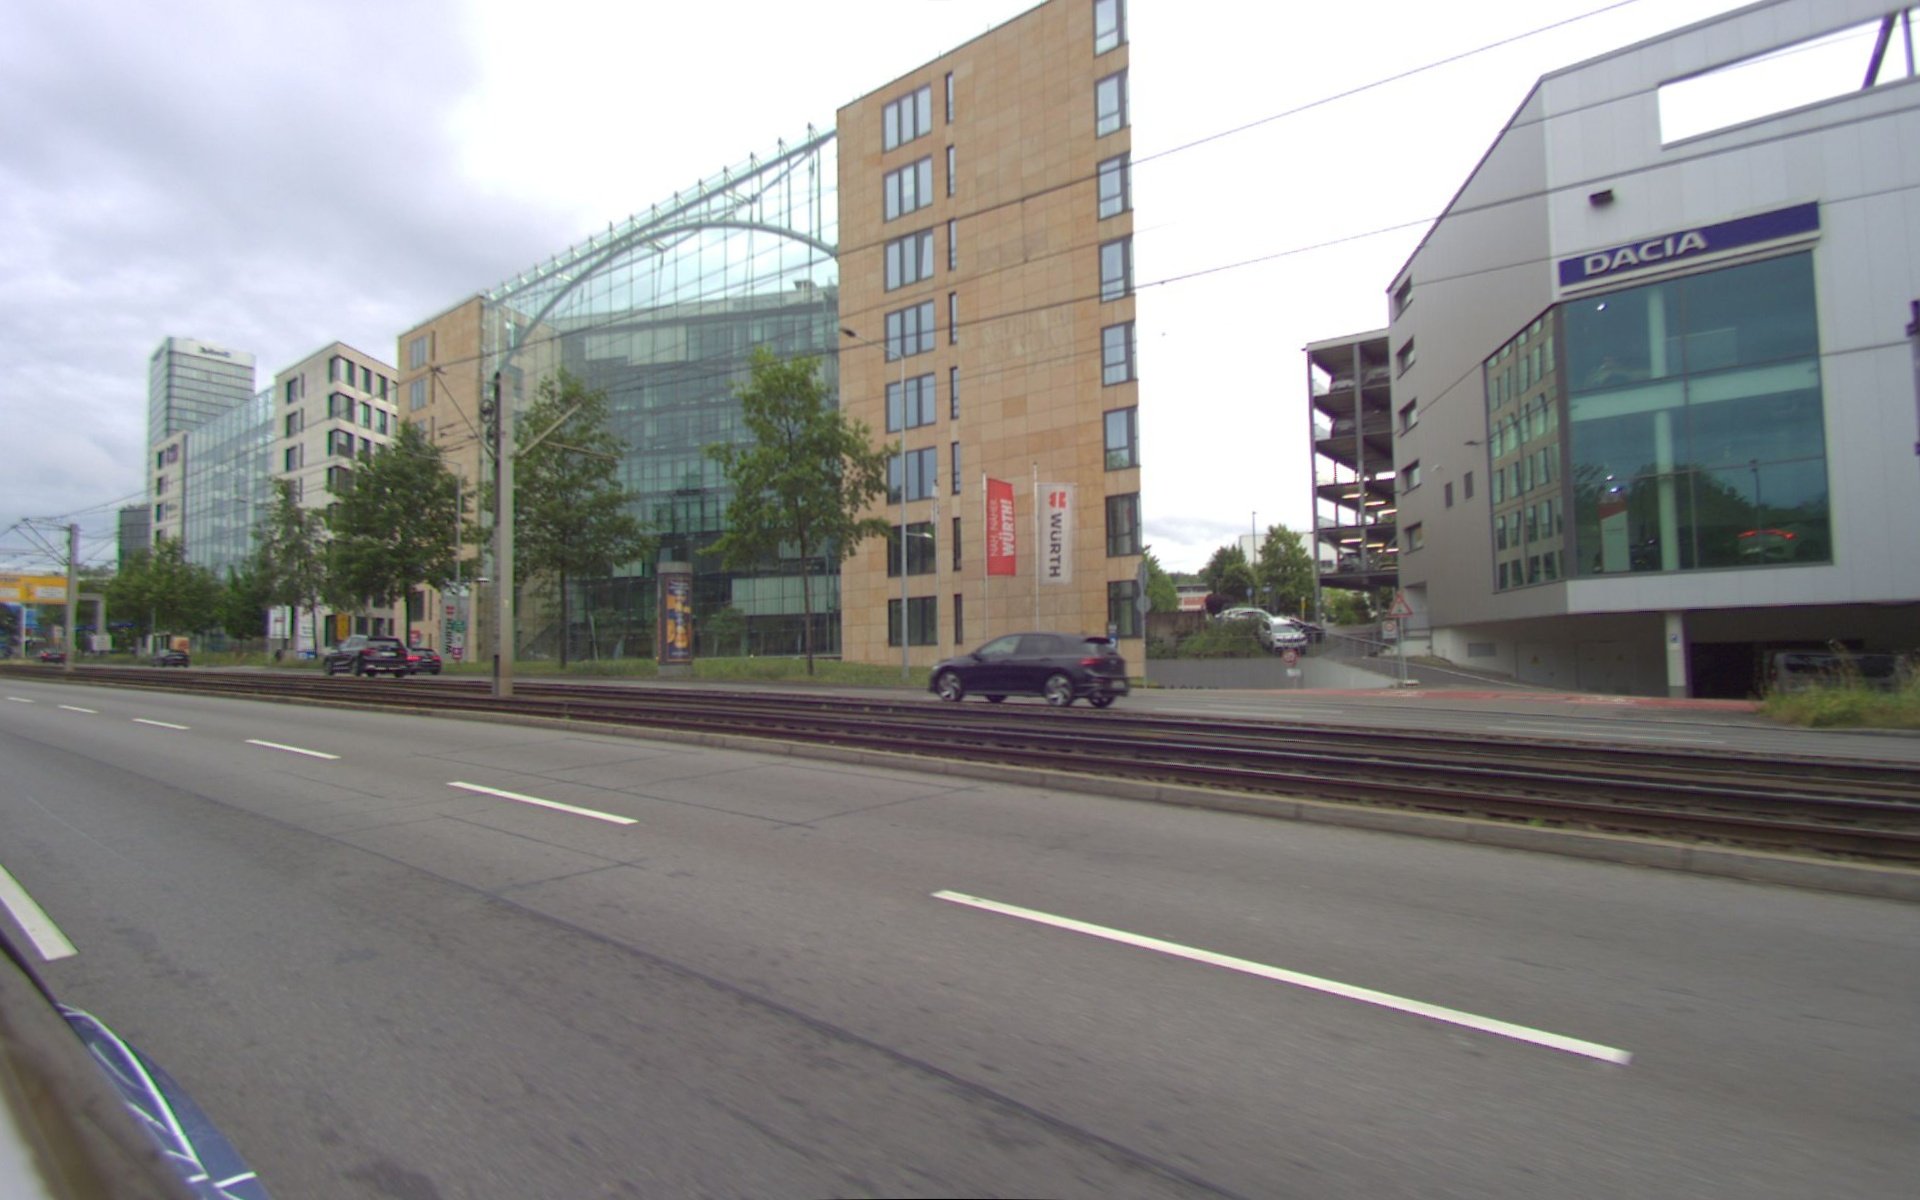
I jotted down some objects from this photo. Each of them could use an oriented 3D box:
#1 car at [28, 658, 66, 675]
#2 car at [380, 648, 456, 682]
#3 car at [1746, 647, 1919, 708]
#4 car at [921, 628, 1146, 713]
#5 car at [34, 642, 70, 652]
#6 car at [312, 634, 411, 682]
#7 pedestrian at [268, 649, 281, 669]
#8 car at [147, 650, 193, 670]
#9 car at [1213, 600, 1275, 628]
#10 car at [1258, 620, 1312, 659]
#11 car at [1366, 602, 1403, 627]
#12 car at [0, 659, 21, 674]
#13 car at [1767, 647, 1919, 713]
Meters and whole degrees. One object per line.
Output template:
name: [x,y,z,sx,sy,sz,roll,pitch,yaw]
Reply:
car: [-85.970,6.277,95.238,4.647,1.497,1.823,-3,-7,39]
car: [-27.433,3.260,51.161,4.227,1.473,1.653,0,-1,34]
car: [29.322,2.522,33.652,4.932,1.805,1.975,-1,-1,37]
car: [1.382,1.346,20.023,4.233,1.473,1.651,-1,-4,39]
car: [-151.386,7.808,168.773,1.884,1.515,4.309,0,-1,40]
car: [-23.208,2.200,39.192,4.379,1.628,1.788,0,-1,38]
pedestrian: [-57.251,4.925,84.508,0.830,1.644,0.636,0,-1,35]
car: [-62.896,4.779,80.568,4.424,1.497,1.823,-3,-7,39]
car: [19.979,0.967,71.292,3.958,1.776,1.876,2,0,12]
car: [17.317,2.058,54.108,1.860,1.908,3.994,2,0,5]
car: [31.343,1.107,74.739,1.908,1.699,3.847,2,0,32]
car: [-105.598,7.365,111.906,4.647,1.497,1.823,-3,-7,39]
car: [26.396,2.272,29.111,4.935,1.738,1.974,-2,-2,39]
